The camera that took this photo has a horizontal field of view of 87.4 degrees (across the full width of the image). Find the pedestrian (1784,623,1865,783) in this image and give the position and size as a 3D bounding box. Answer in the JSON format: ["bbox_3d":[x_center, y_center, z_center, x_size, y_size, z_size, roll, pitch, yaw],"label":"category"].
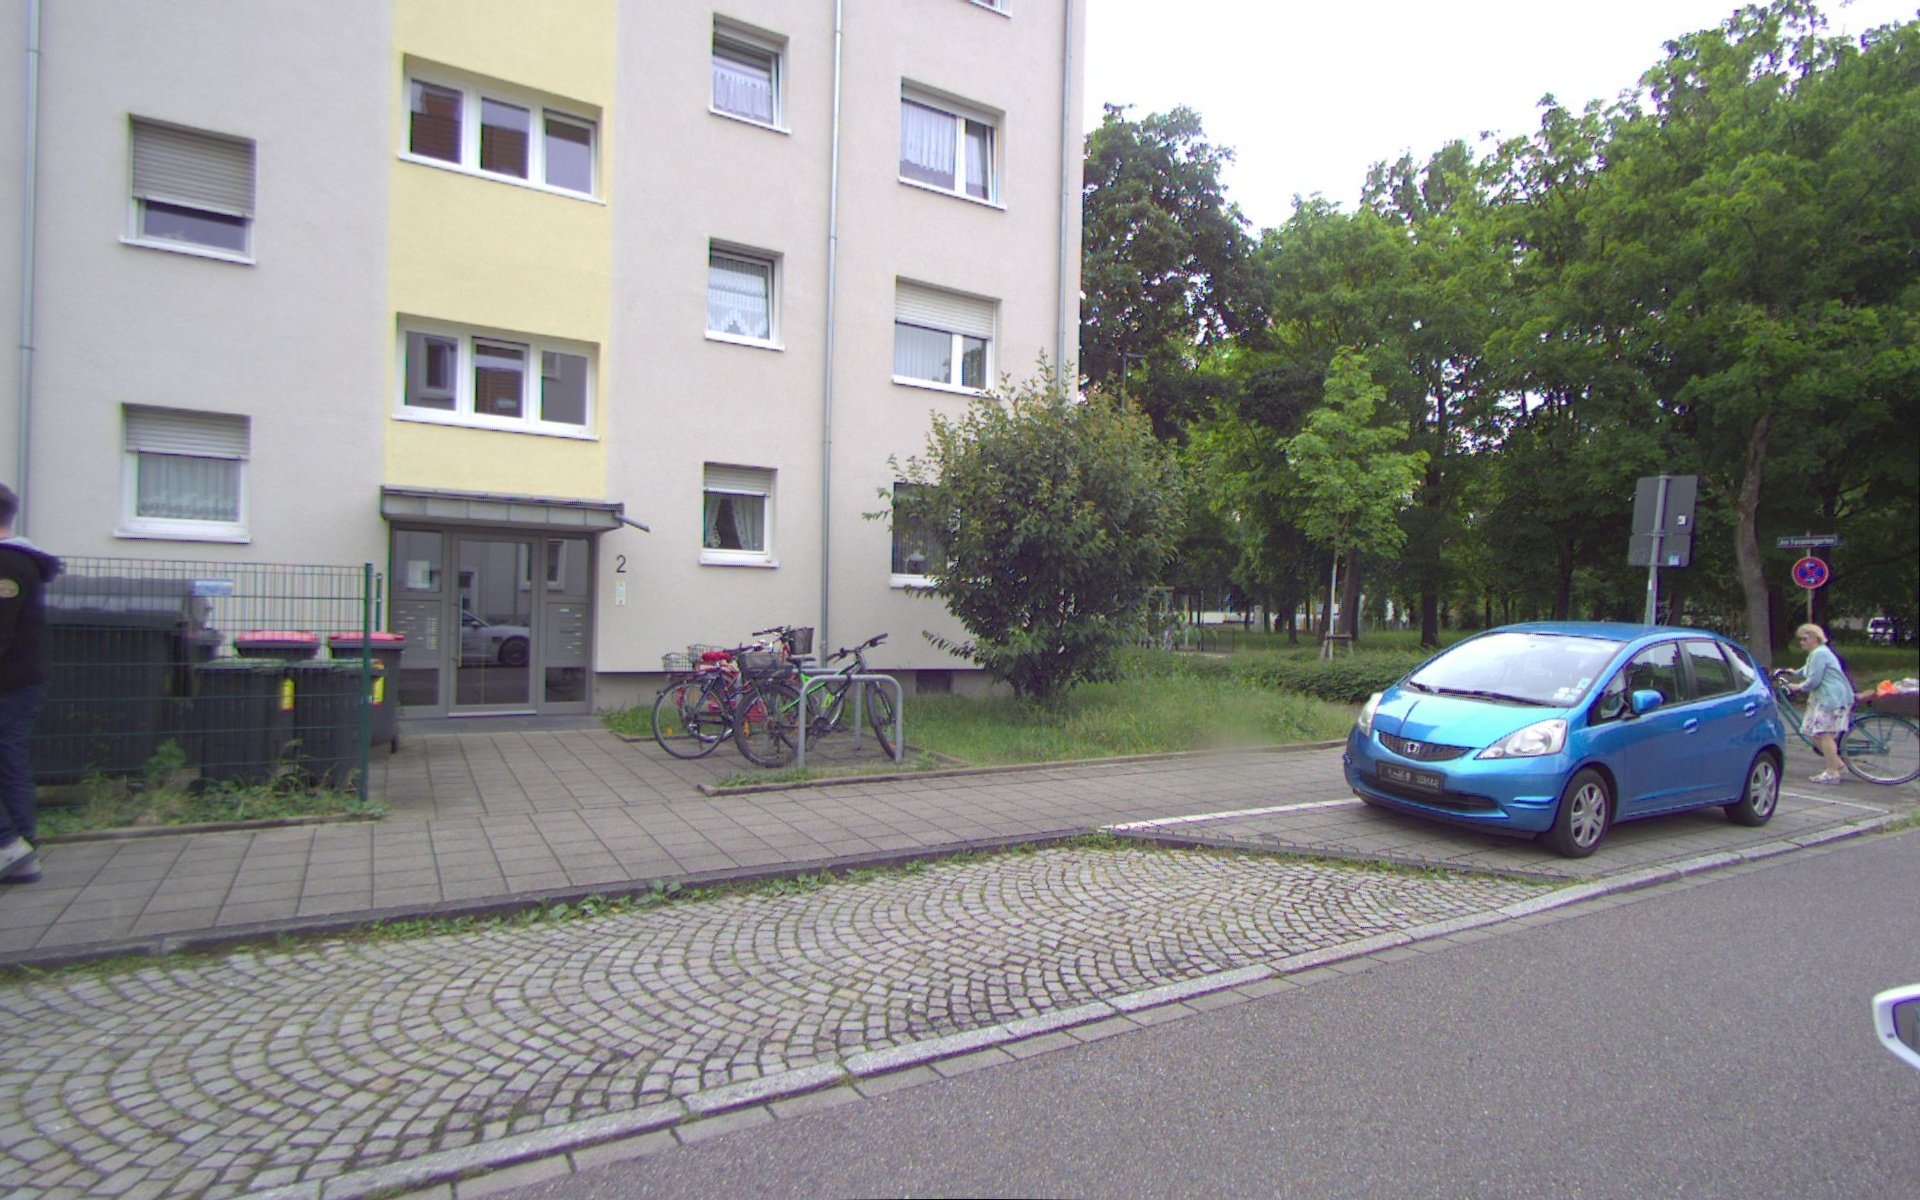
[{"bbox_3d":[8.843,1.025,10.291,0.558,1.570,0.447,1,0,34],"label":"pedestrian"}]

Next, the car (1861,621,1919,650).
[{"bbox_3d":[56.861,2.155,61.266,3.959,1.639,1.906,2,-1,-34],"label":"car"}]

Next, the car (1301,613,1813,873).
[{"bbox_3d":[4.694,0.913,7.796,3.911,1.482,1.721,1,2,-31],"label":"car"}]

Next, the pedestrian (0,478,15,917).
[{"bbox_3d":[-4.445,0.421,3.922,0.963,1.888,0.637,1,2,-31],"label":"pedestrian"}]

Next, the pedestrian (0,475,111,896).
[{"bbox_3d":[-4.572,0.378,4.713,0.754,1.879,0.703,1,0,-31],"label":"pedestrian"}]

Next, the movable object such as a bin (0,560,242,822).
[{"bbox_3d":[-5.587,0.498,6.265,1.652,1.440,1.581,1,0,-31],"label":"movable object such as a bin"}]

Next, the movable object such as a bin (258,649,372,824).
[{"bbox_3d":[-4.194,0.859,6.558,0.591,1.047,0.534,1,0,-32],"label":"movable object such as a bin"}]

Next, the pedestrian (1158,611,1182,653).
[{"bbox_3d":[8.137,1.243,38.929,0.648,1.604,0.693,0,0,-28],"label":"pedestrian"}]

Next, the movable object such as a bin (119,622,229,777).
[{"bbox_3d":[-6.199,0.748,7.956,0.591,1.131,0.837,1,0,-33],"label":"movable object such as a bin"}]

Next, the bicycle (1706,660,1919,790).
[{"bbox_3d":[8.991,1.271,10.569,1.789,1.134,0.536,3,2,38],"label":"bicycle"}]

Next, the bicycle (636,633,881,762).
[{"bbox_3d":[-1.856,0.856,9.388,2.149,1.085,0.654,1,0,-30],"label":"bicycle"}]

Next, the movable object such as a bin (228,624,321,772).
[{"bbox_3d":[-5.648,0.777,8.314,0.591,1.131,0.837,1,0,-33],"label":"movable object such as a bin"}]

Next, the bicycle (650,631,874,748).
[{"bbox_3d":[-1.995,0.865,10.255,2.149,1.085,0.654,1,0,-30],"label":"bicycle"}]

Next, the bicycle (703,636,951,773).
[{"bbox_3d":[-1.154,0.871,8.922,2.097,1.082,0.654,1,0,-30],"label":"bicycle"}]

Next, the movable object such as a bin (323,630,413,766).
[{"bbox_3d":[-5.072,0.803,8.608,0.627,1.065,0.859,1,0,-32],"label":"movable object such as a bin"}]
